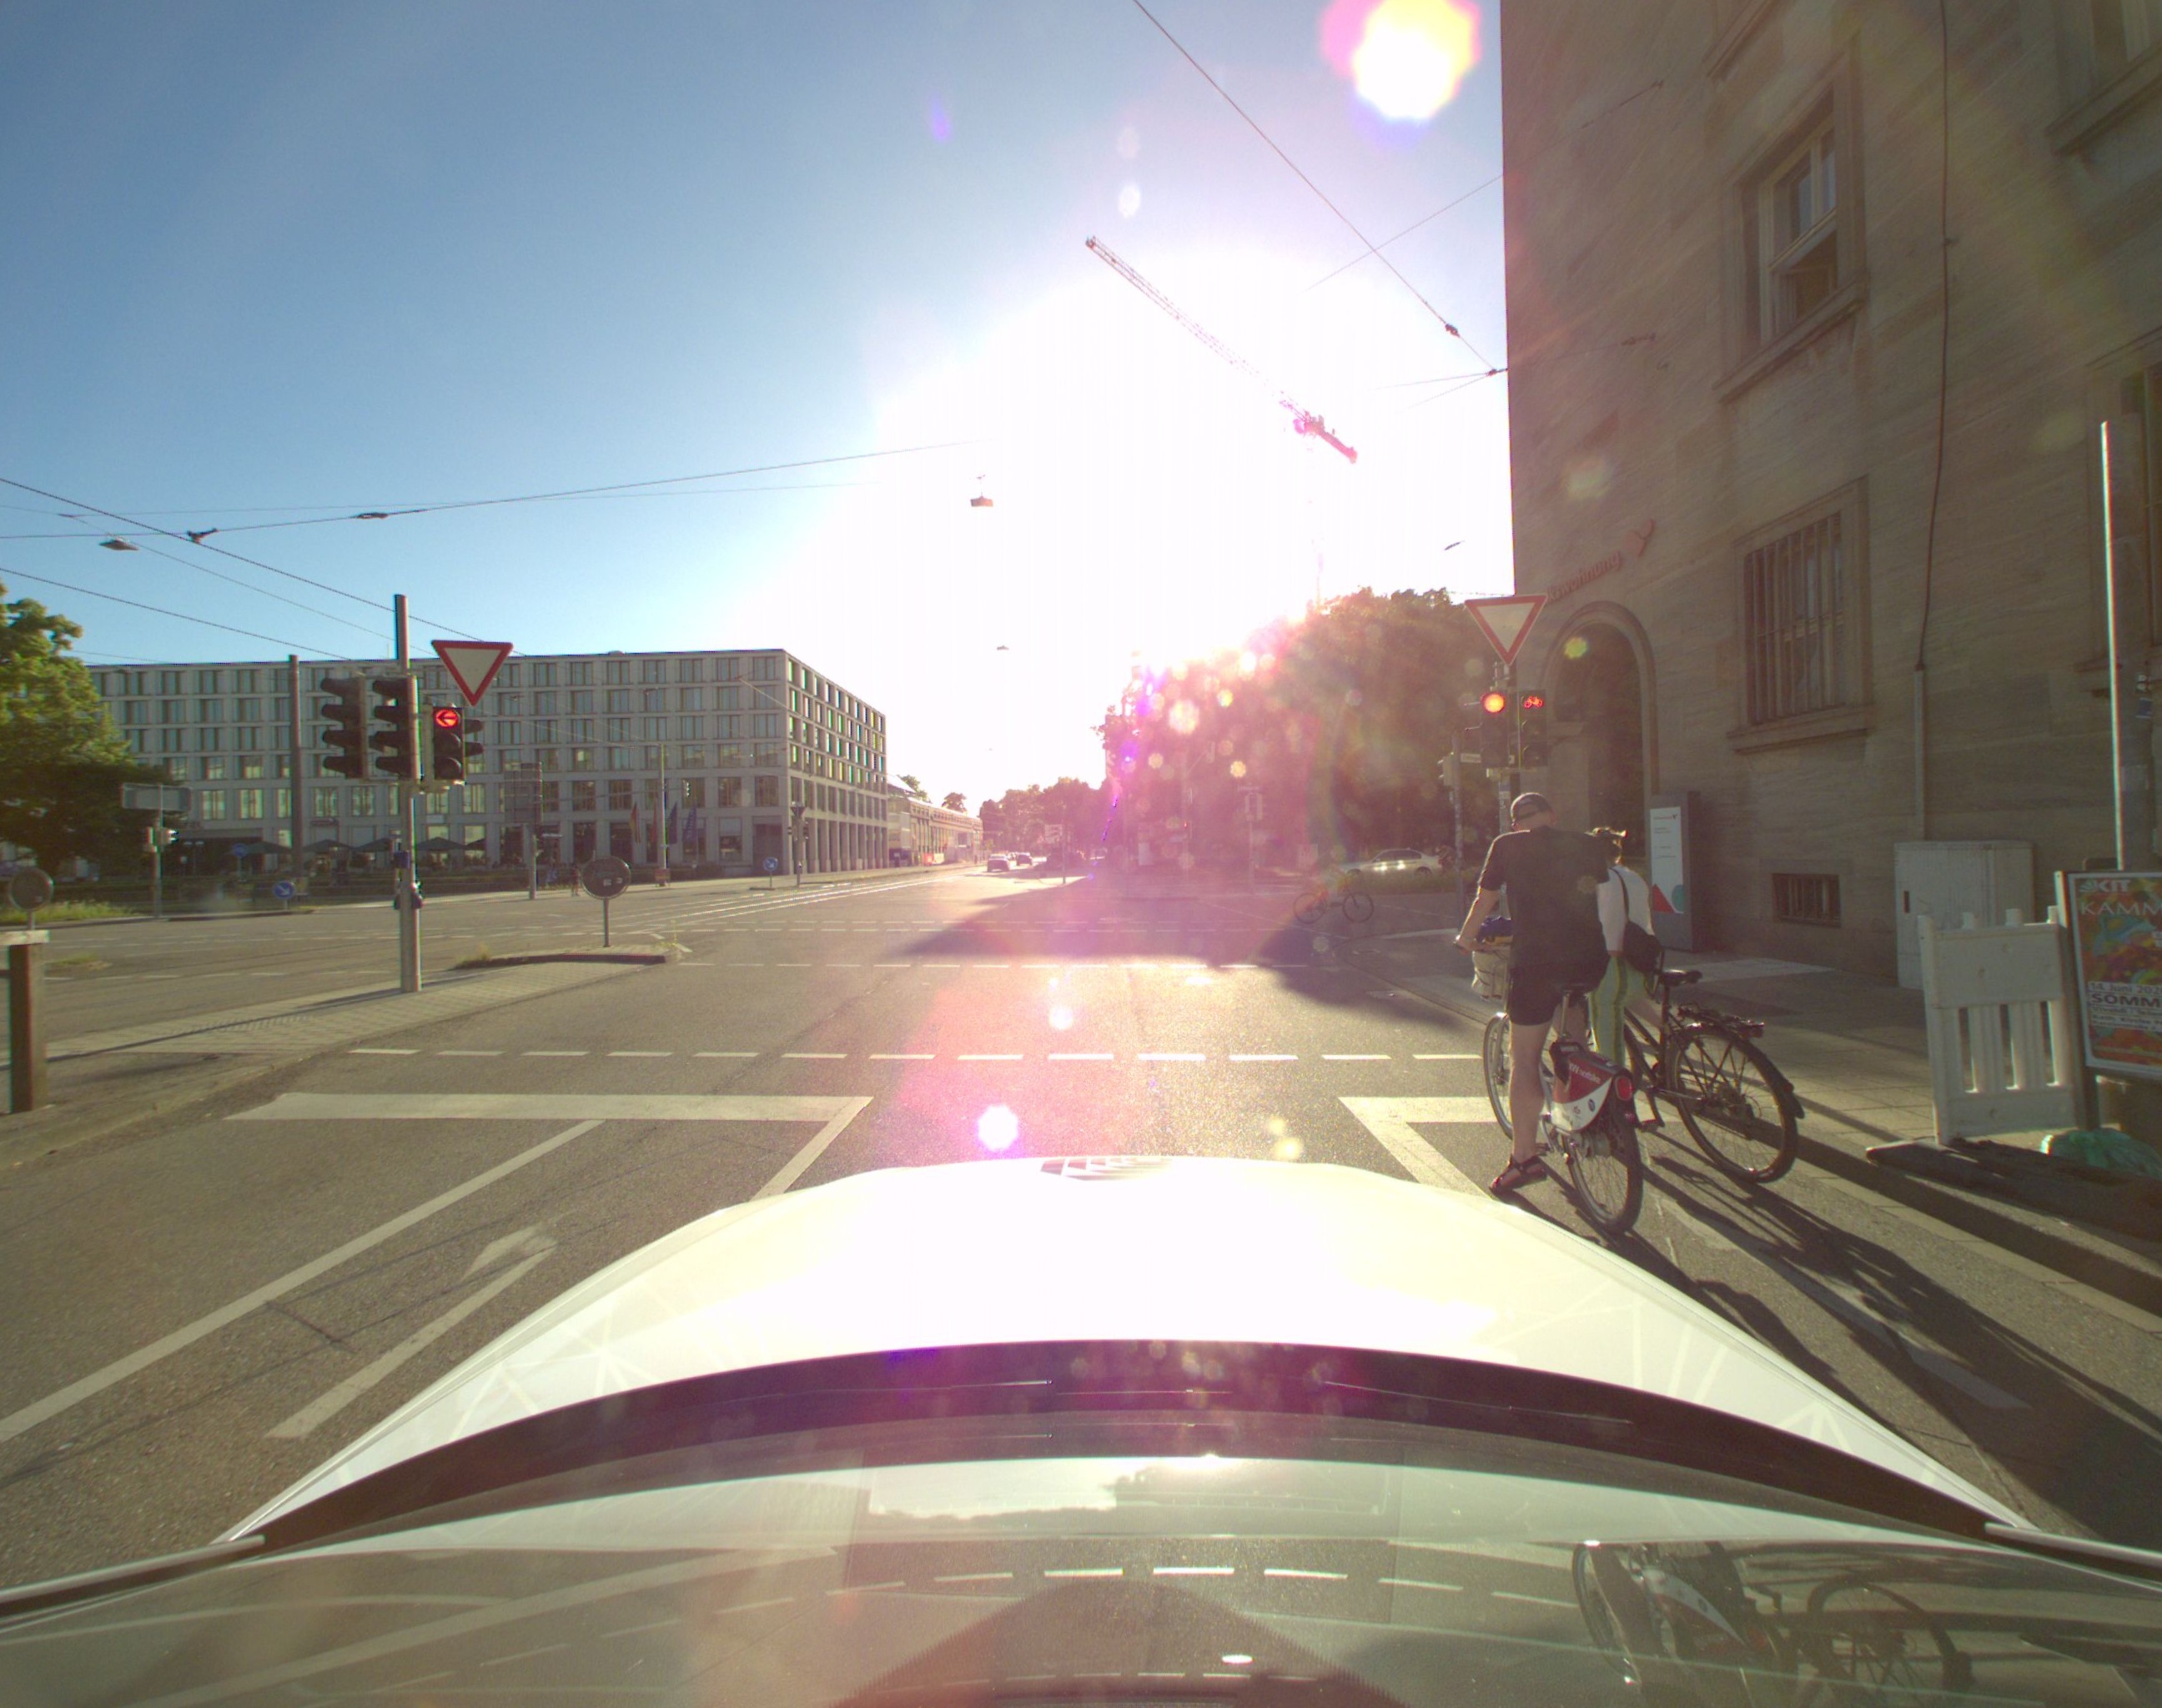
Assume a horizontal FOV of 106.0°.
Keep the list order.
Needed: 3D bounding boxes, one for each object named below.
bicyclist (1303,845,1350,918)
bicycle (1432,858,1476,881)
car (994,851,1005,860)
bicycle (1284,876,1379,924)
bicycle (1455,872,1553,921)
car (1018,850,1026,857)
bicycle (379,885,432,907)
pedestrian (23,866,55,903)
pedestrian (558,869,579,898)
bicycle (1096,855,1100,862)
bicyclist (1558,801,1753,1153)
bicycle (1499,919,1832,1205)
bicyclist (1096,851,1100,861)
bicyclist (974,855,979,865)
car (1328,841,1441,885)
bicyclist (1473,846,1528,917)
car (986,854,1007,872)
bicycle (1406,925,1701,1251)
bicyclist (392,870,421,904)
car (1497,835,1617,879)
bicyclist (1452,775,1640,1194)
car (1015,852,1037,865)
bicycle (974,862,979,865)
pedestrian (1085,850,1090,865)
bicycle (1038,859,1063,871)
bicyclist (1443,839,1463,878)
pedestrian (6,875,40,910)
[{"bbox_3d":[5.226,0.577,17.383,0.761,1.524,0.606,-2,0,-3],"label":"bicyclist"},{"bbox_3d":[16.480,0.691,35.973,1.657,0.963,0.535,-2,0,7],"label":"bicycle"},{"bbox_3d":[-15.660,0.267,157.078,1.688,1.718,4.245,0,-1,-1],"label":"car"},{"bbox_3d":[5.333,0.975,17.387,1.853,0.935,0.559,-2,0,-4],"label":"bicycle"},{"bbox_3d":[8.849,0.880,17.067,1.739,0.935,0.645,-2,0,-3],"label":"bicycle"},{"bbox_3d":[-14.230,-0.114,195.327,1.688,1.718,4.245,0,-1,-1],"label":"car"},{"bbox_3d":[-32.680,2.016,39.429,0.755,0.935,1.871,-2,0,14],"label":"bicycle"},{"bbox_3d":[-58.645,1.707,45.843,0.837,2.014,0.827,-1,-1,11],"label":"pedestrian"},{"bbox_3d":[-28.681,1.623,45.548,0.774,1.589,0.589,-2,0,-8],"label":"pedestrian"},{"bbox_3d":[2.888,0.738,135.797,0.573,1.077,1.831,-2,0,1],"label":"bicycle"},{"bbox_3d":[2.960,0.591,4.252,0.556,1.691,0.640,-1,0,0],"label":"bicyclist"},{"bbox_3d":[2.949,0.958,4.358,0.532,1.077,1.751,-1,0,1],"label":"bicycle"},{"bbox_3d":[2.875,0.332,135.818,0.567,1.691,0.700,-2,0,1],"label":"bicyclist"},{"bbox_3d":[-14.865,0.812,115.444,0.594,1.377,0.637,0,-1,0],"label":"bicyclist"},{"bbox_3d":[12.353,0.353,33.261,3.979,1.611,1.650,-2,0,1],"label":"car"},{"bbox_3d":[8.781,0.570,17.076,0.796,1.450,0.617,-1,0,-2],"label":"bicyclist"},{"bbox_3d":[-7.356,0.773,70.539,1.659,1.455,4.420,-1,0,-8],"label":"car"},{"bbox_3d":[2.127,0.957,3.942,0.513,1.077,1.729,-1,0,4],"label":"bicycle"},{"bbox_3d":[-32.666,1.591,39.452,0.753,1.589,0.781,-2,0,15],"label":"bicyclist"},{"bbox_3d":[19.220,0.130,32.983,3.835,1.611,1.650,-2,0,1],"label":"car"},{"bbox_3d":[2.129,0.561,3.785,0.556,1.799,0.551,-1,0,3],"label":"bicyclist"},{"bbox_3d":[-6.657,0.527,99.224,1.882,1.565,4.815,1,0,6],"label":"car"},{"bbox_3d":[-14.837,1.363,115.408,0.499,0.515,1.258,0,-1,1],"label":"bicycle"},{"bbox_3d":[0.758,0.382,97.899,0.462,1.813,0.502,-2,0,-3],"label":"pedestrian"},{"bbox_3d":[-2.565,0.907,67.709,1.996,0.891,0.655,-4,-1,29],"label":"bicycle"},{"bbox_3d":[16.439,0.184,35.975,0.640,1.683,0.508,-2,0,7],"label":"bicyclist"},{"bbox_3d":[-58.196,2.115,44.798,0.711,1.900,0.877,-1,-1,11],"label":"pedestrian"}]
